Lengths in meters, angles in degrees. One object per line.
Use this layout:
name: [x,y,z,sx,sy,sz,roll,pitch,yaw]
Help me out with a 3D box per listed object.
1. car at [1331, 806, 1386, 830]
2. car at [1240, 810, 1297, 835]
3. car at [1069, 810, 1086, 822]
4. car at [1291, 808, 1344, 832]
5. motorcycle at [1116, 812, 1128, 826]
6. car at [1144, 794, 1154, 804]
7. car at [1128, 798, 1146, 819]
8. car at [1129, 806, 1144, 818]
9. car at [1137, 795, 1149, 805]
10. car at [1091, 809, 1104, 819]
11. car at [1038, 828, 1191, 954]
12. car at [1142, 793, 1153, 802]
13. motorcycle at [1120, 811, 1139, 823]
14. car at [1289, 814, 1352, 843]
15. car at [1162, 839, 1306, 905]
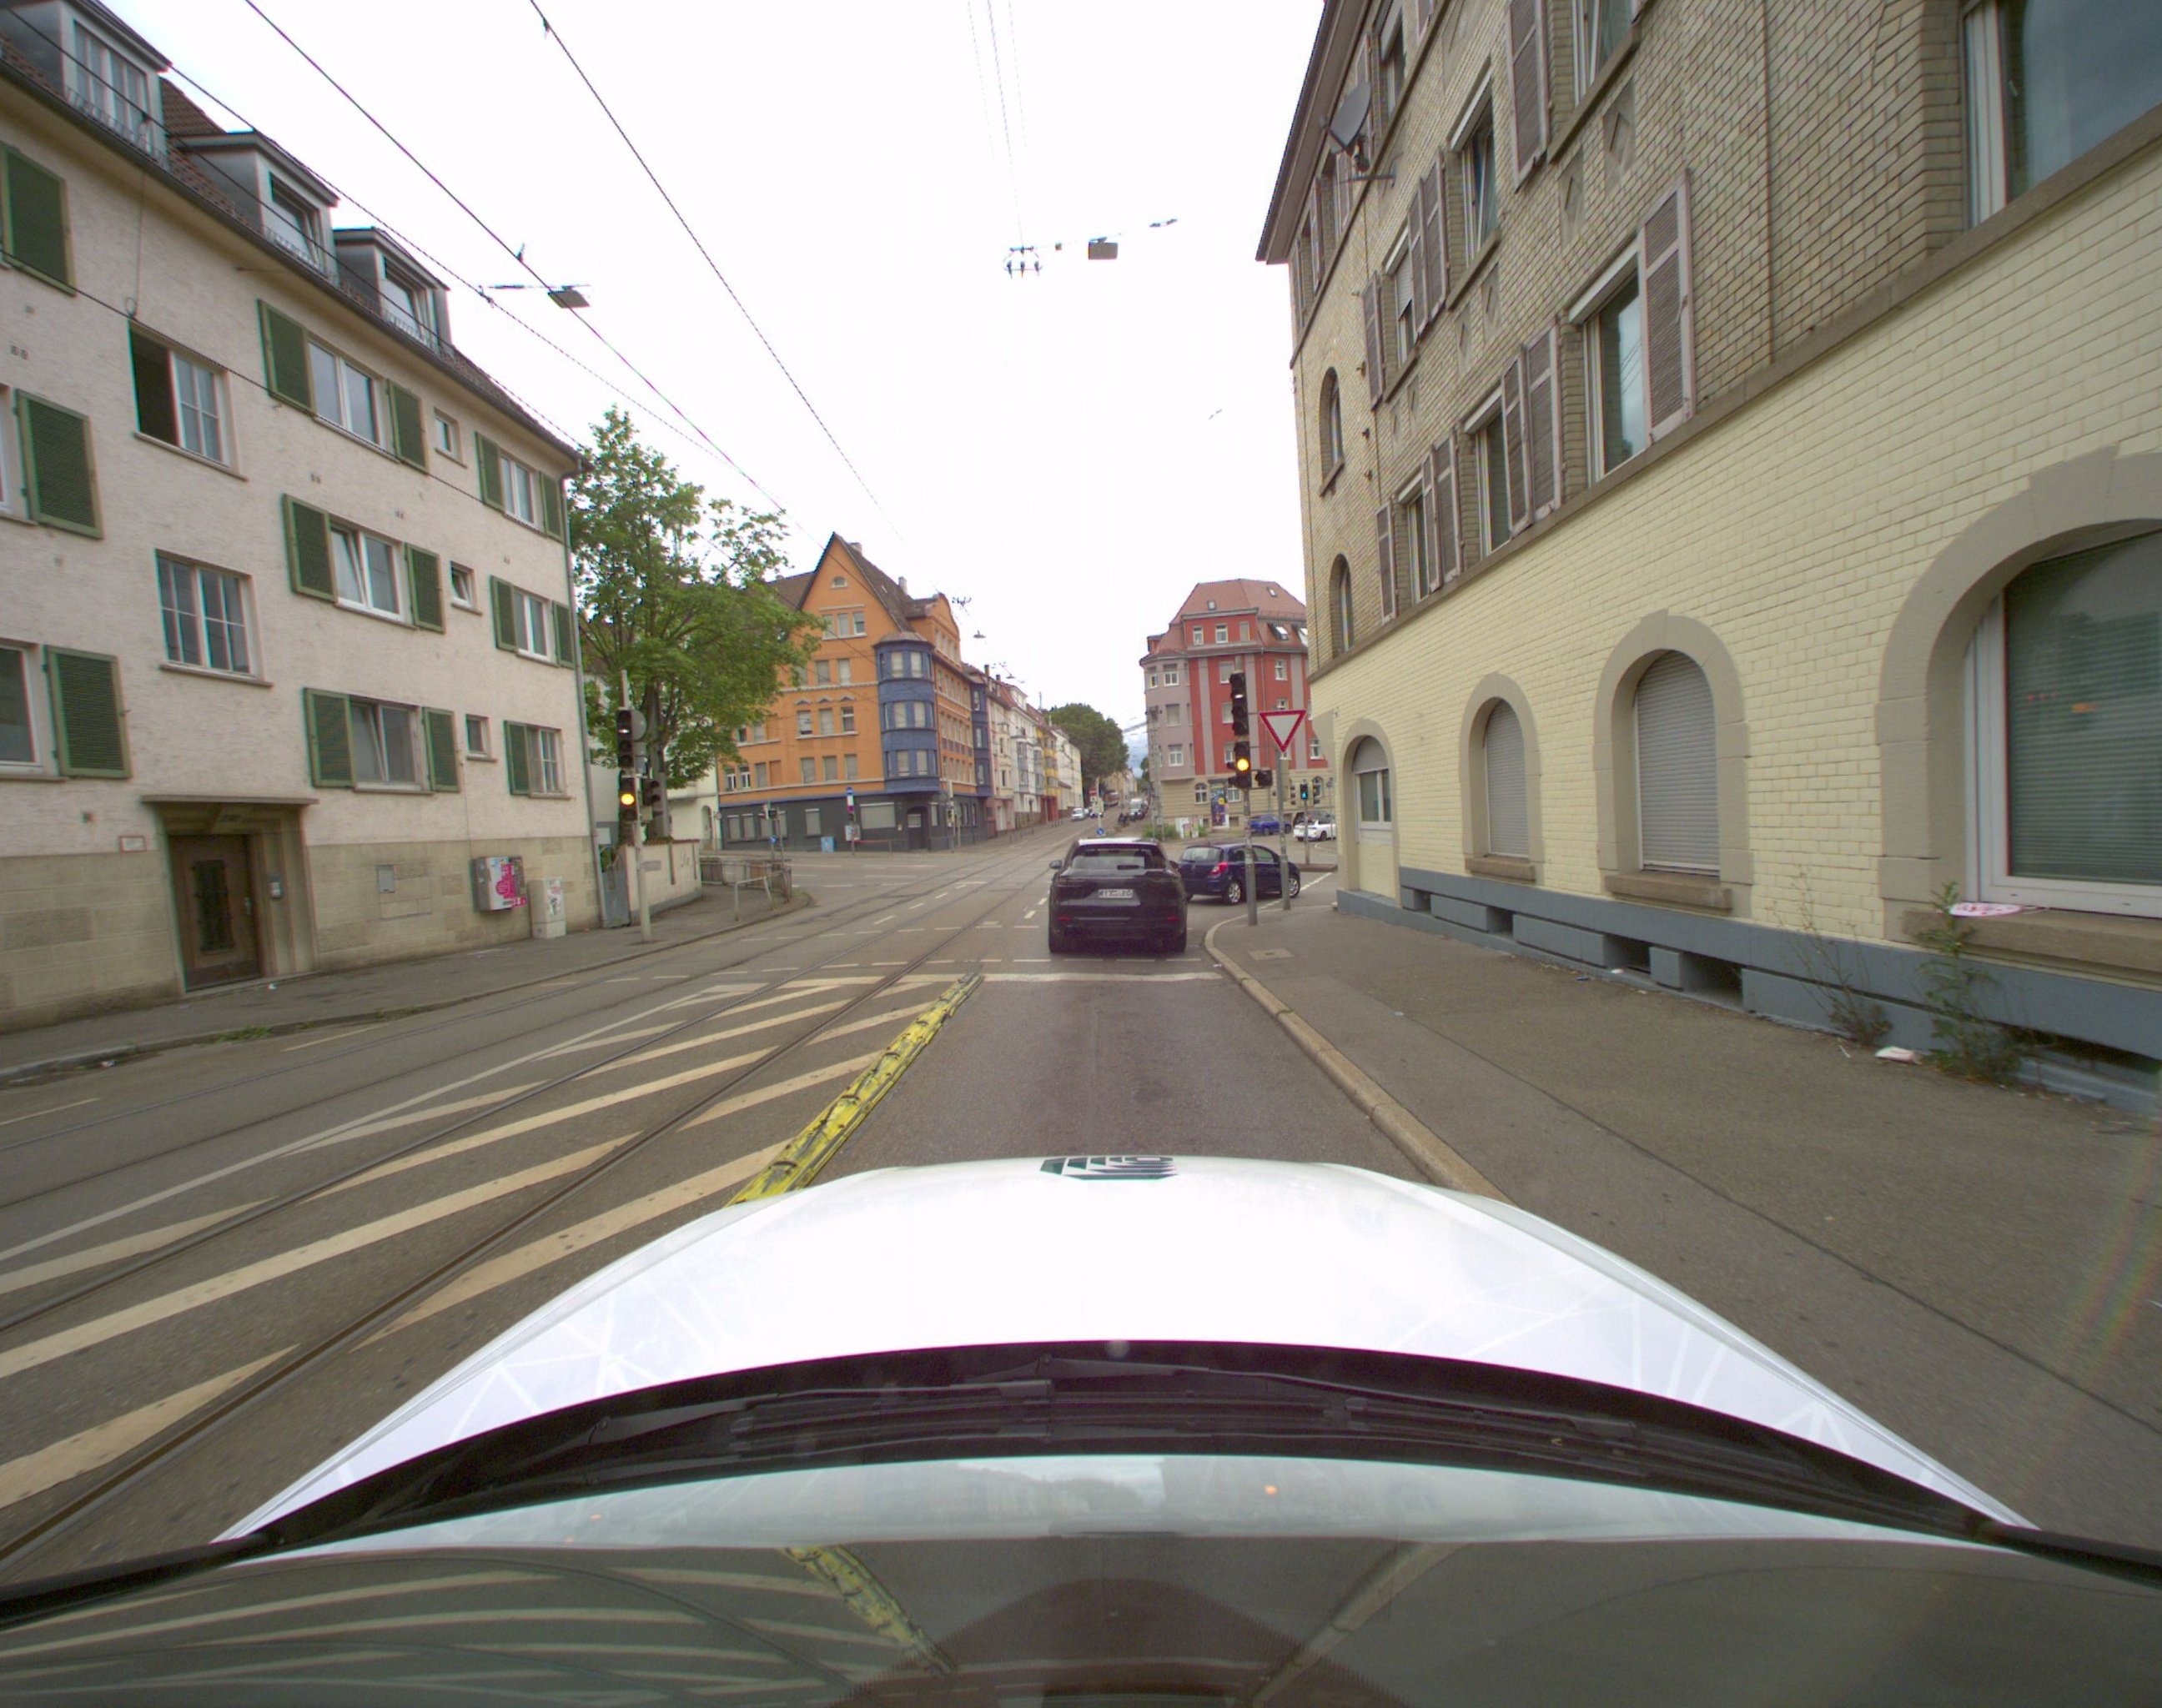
car: [22.324,-2.897,65.413,4.153,1.632,1.901,-5,5,-29]
car: [13.607,-2.278,58.929,4.163,1.534,1.896,-6,6,-40]
car: [-0.470,-5.724,121.056,1.983,1.692,4.009,-1,3,6]
car: [18.112,-2.610,62.325,4.163,1.534,1.897,-6,6,-39]
motorcycle: [4.237,-3.640,85.193,0.858,1.326,2.182,-8,4,-3]
car: [15.868,-12.789,189.263,2.255,2.183,4.779,-1,3,6]
car: [7.894,-6.435,114.360,2.255,2.889,4.779,-1,3,6]
car: [7.398,-5.614,108.862,1.830,1.568,3.827,-1,3,6]
car: [13.377,-11.591,175.345,2.255,2.183,4.779,-1,3,6]
car: [2.539,-6.178,125.688,1.677,1.326,3.670,-1,3,6]
car: [0.593,0.435,13.015,2.015,1.641,4.361,-1,2,4]
car: [15.999,-13.600,195.576,2.255,2.183,4.779,-1,3,6]
motorcycle: [5.721,-4.343,95.682,2.173,1.326,0.699,-2,3,-5]
car: [15.118,-1.642,51.282,4.166,1.534,1.895,-7,6,-43]
car: [3.955,0.383,20.772,3.773,1.446,1.739,-2,4,-44]
